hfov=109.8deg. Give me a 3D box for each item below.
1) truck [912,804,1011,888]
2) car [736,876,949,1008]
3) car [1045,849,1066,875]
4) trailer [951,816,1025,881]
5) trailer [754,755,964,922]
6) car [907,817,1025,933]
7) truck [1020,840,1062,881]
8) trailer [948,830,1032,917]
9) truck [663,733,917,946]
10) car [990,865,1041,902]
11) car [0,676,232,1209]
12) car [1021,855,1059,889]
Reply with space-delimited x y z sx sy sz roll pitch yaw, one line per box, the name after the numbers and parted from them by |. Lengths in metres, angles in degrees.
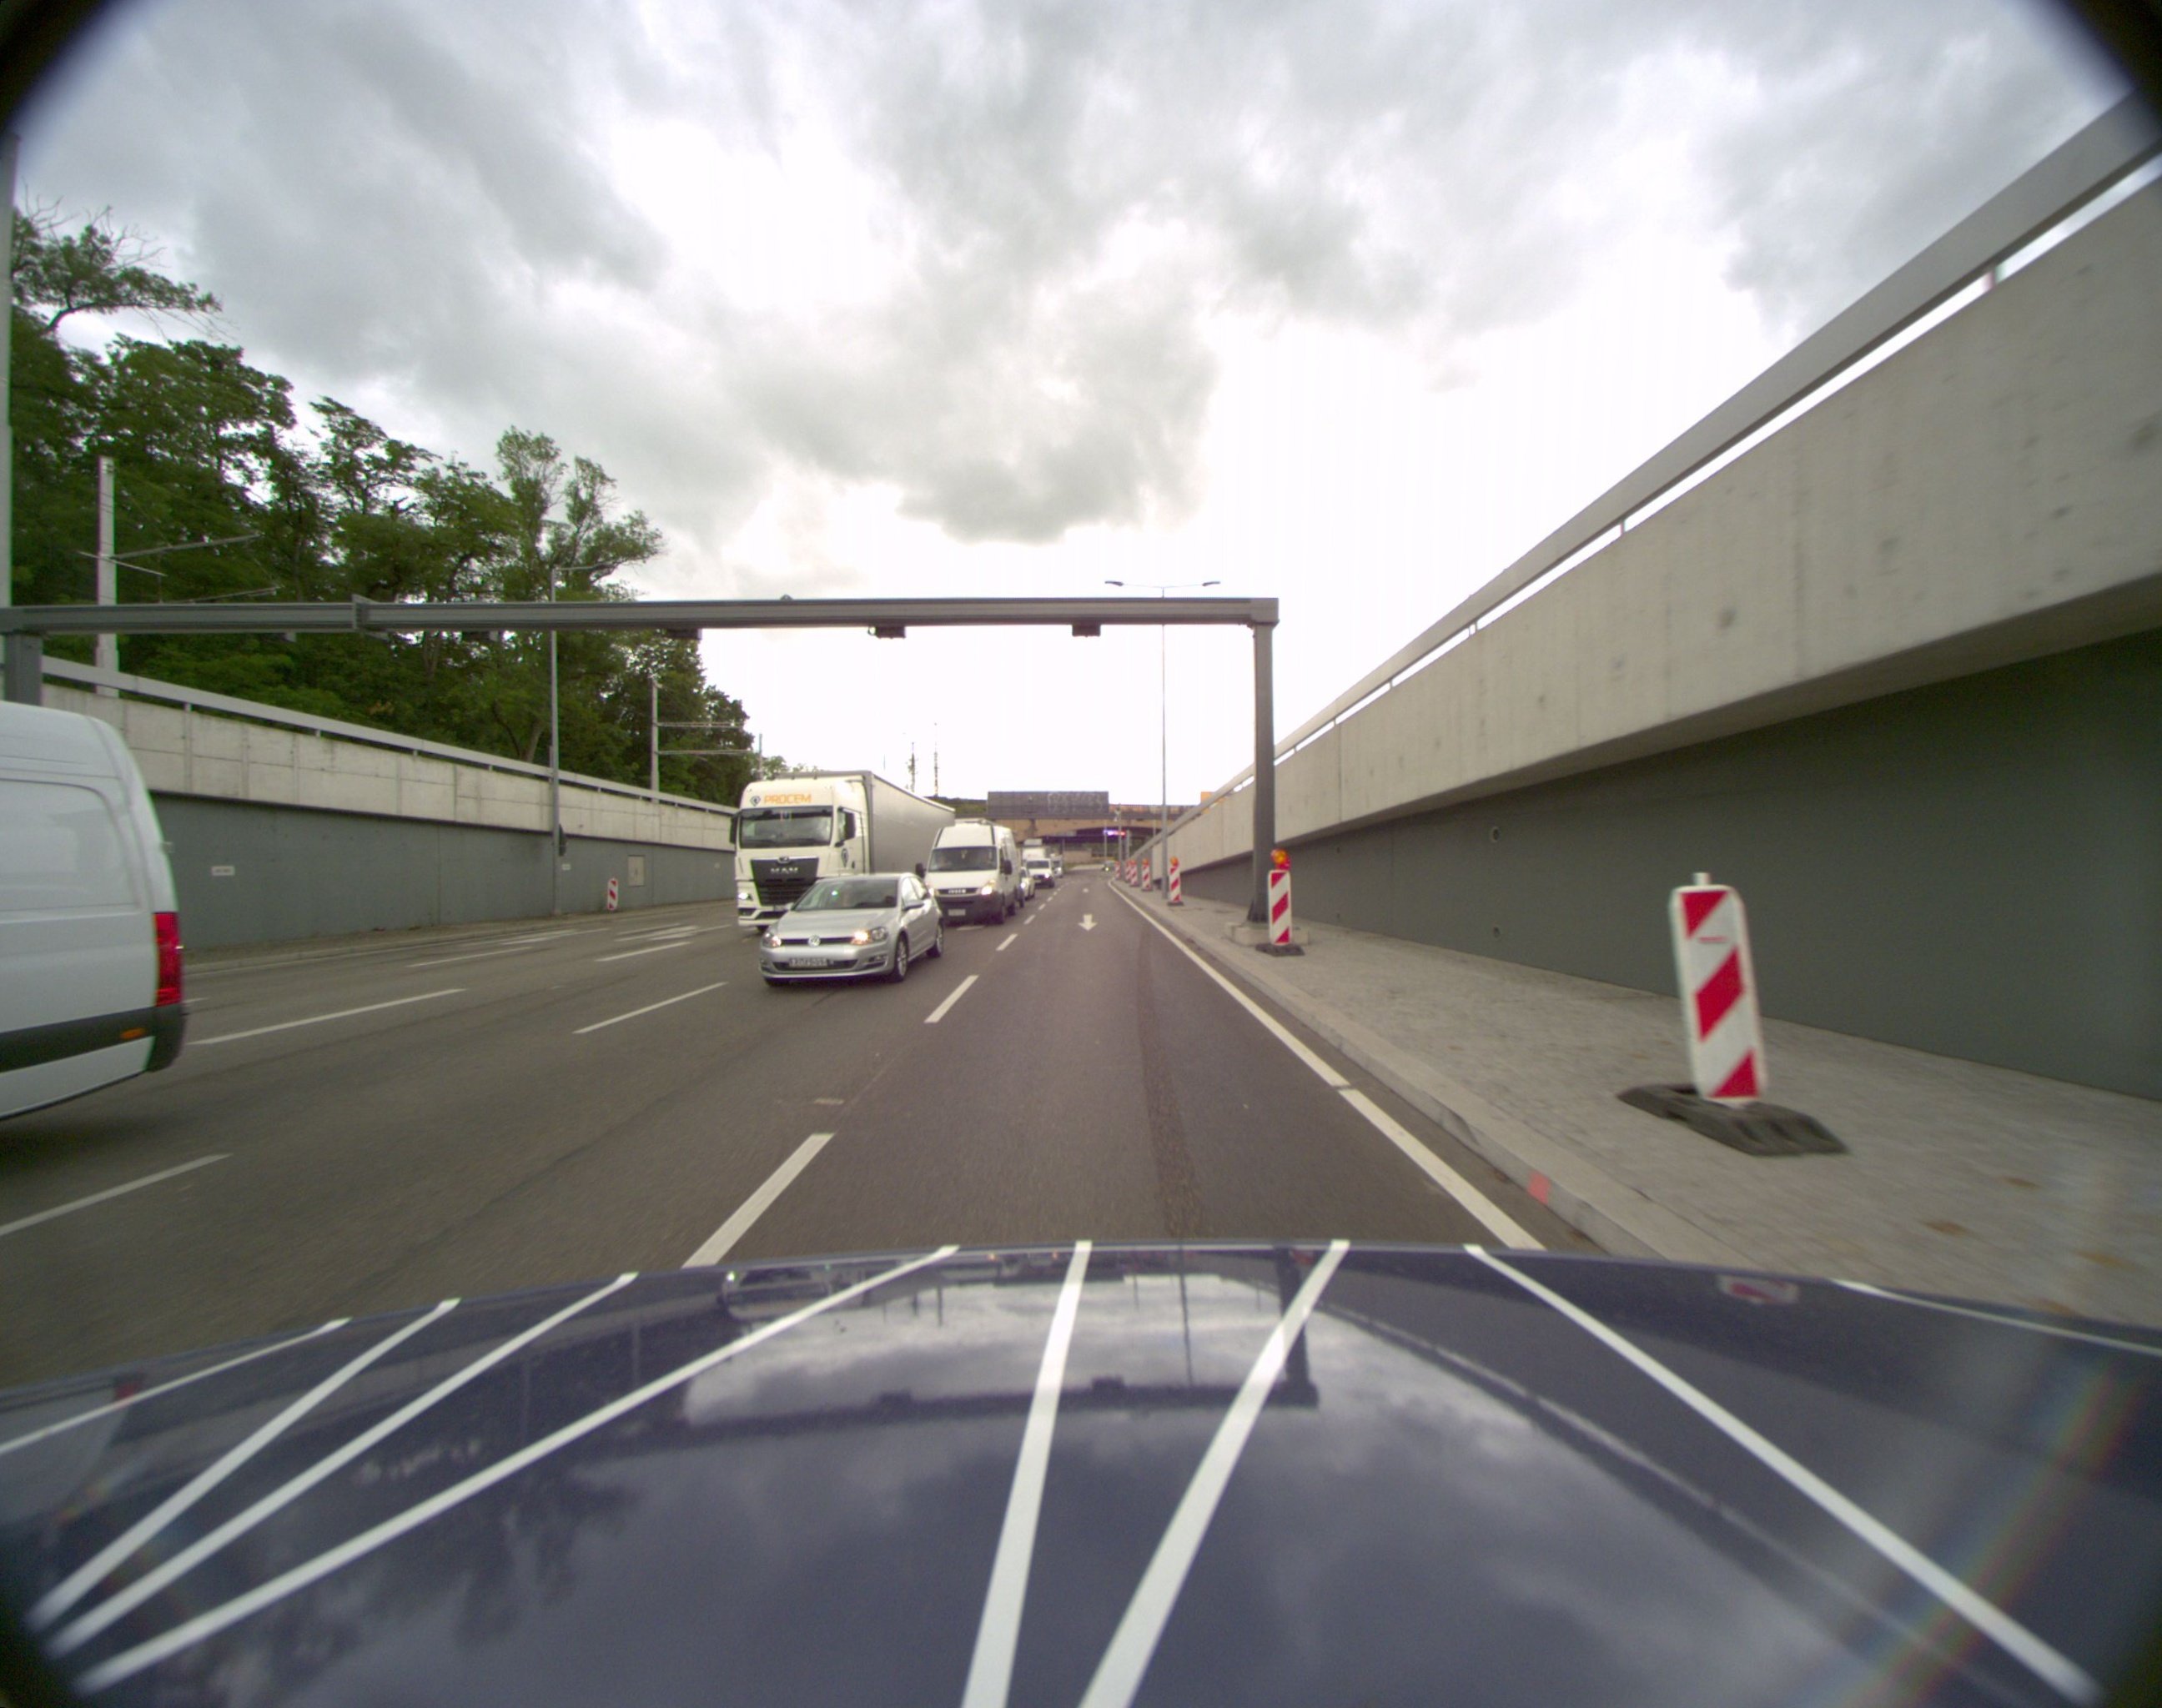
-6.655 -0.392 44.624 3.734 4.117 10.984 -3 0 1 | truck
-3.149 1.095 10.954 1.768 1.375 4.038 -1 1 0 | car
-3.001 0.962 91.704 2.160 2.880 6.210 -3 0 1 | car
-6.536 -0.337 55.607 3.734 4.117 10.984 -3 0 1 | trailer
-7.282 -0.408 27.802 3.814 4.604 12.114 -3 0 1 | trailer
-2.973 0.520 21.077 2.063 2.612 5.943 -5 0 1 | car
-3.876 0.557 75.714 3.032 3.566 8.951 -5 0 3 | truck
-2.907 0.523 25.476 2.108 2.624 4.808 -1 2 1 | trailer
-7.336 -0.308 20.800 3.814 4.604 7.442 -3 0 0 | truck
-2.794 1.236 33.129 1.720 1.390 4.347 -2 0 1 | car
-6.642 0.454 1.314 2.080 2.757 7.326 -1 0 0 | car
-2.565 1.082 48.997 1.998 1.978 5.199 -3 0 1 | car
